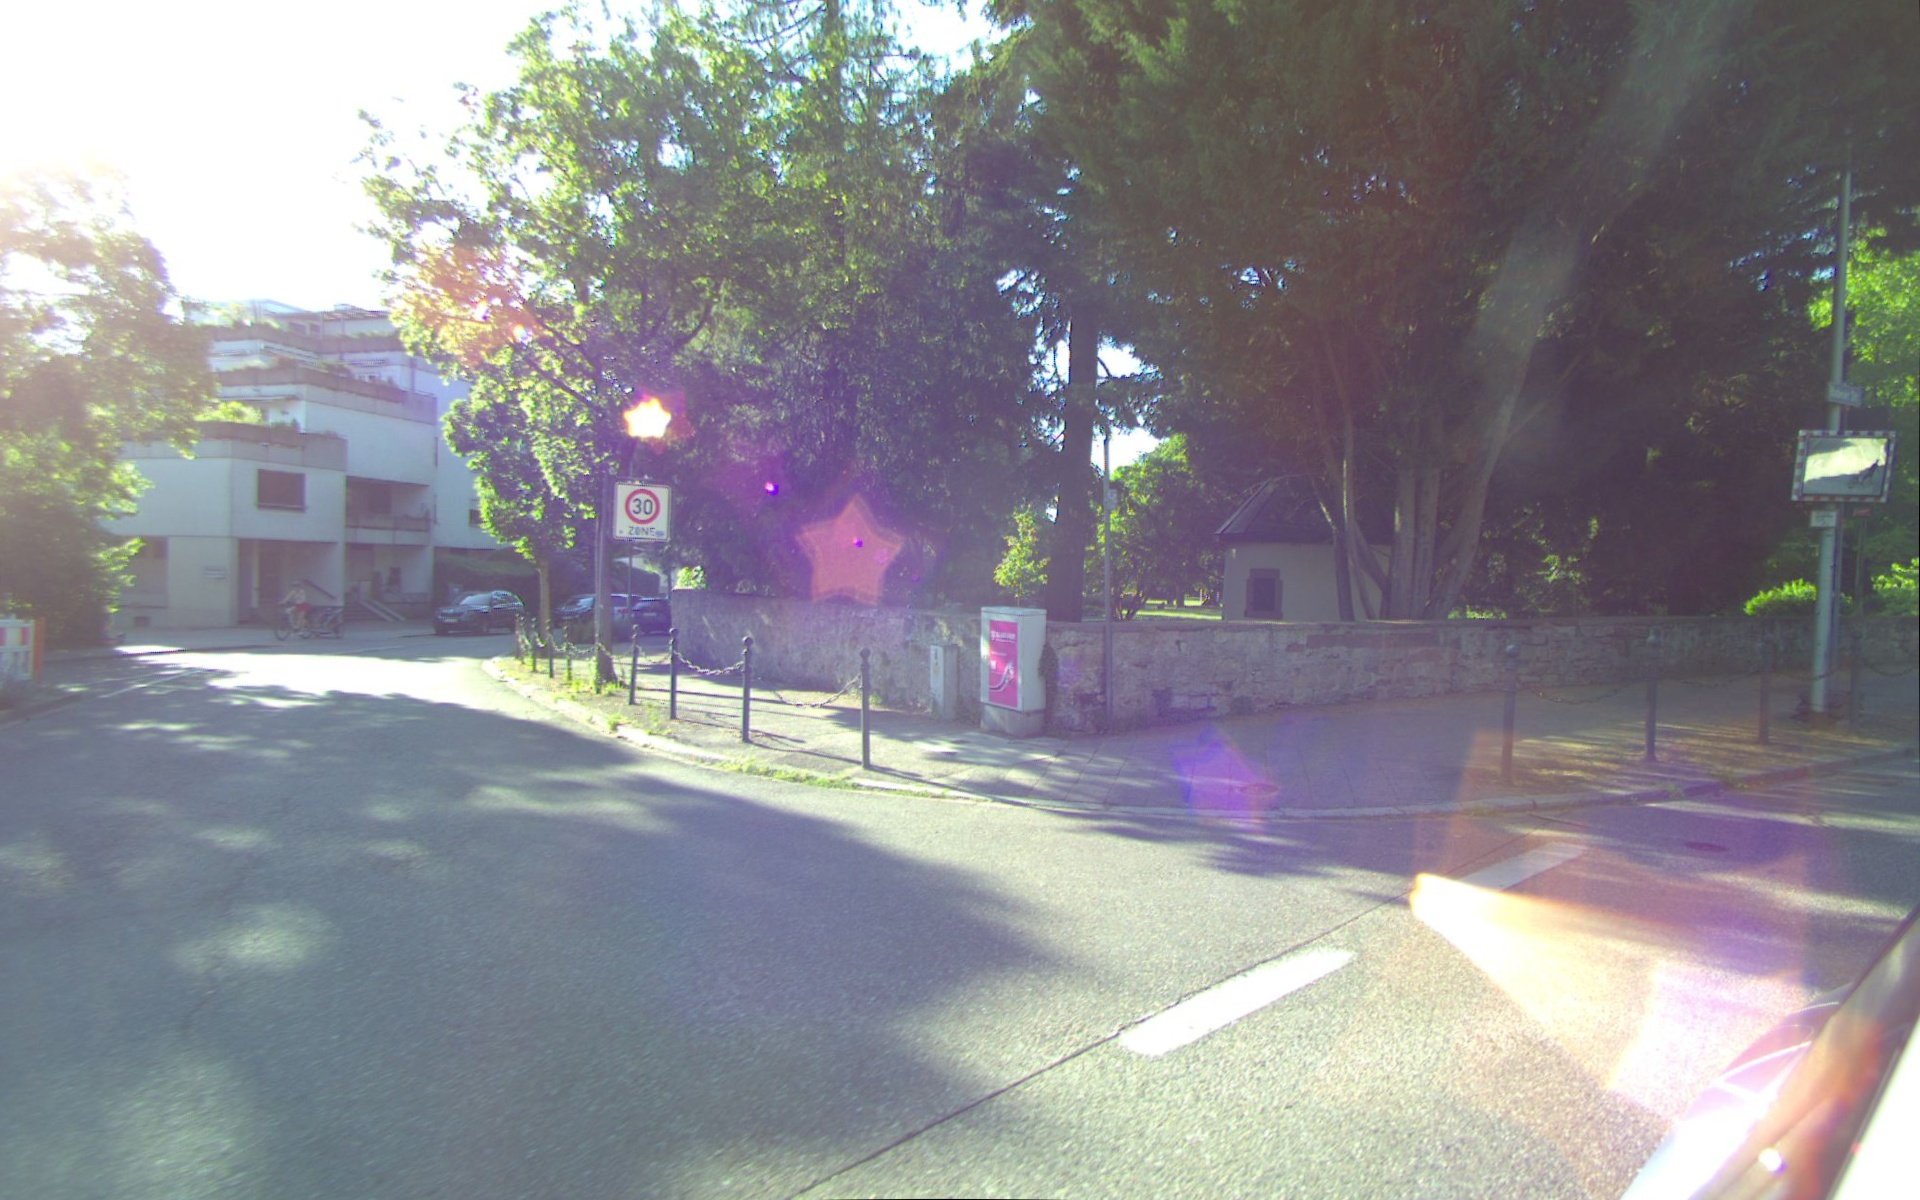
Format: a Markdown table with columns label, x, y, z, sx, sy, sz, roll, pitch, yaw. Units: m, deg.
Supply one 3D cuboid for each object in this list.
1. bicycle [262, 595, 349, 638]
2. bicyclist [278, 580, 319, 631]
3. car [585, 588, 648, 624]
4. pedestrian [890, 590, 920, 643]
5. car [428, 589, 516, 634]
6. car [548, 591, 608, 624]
| label | x | y | z | sx | sy | sz | roll | pitch | yaw |
| --- | --- | --- | --- | --- | --- | --- | --- | --- | --- |
| bicycle | -20.472 | 0.483 | 31.749 | 0.749 | 1.222 | 2.841 | 5 | 1 | 1 |
| bicyclist | -20.444 | 0.154 | 31.305 | 0.746 | 1.503 | 0.644 | 4 | 0 | 2 |
| car | -15.327 | 0.241 | 45.317 | 1.801 | 1.542 | 3.919 | 0 | 0 | -5 |
| pedestrian | -1.584 | 0.462 | 28.959 | 0.661 | 1.470 | 0.602 | 0 | -1 | -32 |
| car | -18.550 | 0.393 | 38.672 | 1.801 | 1.605 | 4.027 | 0 | 0 | -7 |
| car | -18.629 | 0.327 | 49.474 | 1.801 | 1.542 | 3.919 | 0 | 0 | -5 |
